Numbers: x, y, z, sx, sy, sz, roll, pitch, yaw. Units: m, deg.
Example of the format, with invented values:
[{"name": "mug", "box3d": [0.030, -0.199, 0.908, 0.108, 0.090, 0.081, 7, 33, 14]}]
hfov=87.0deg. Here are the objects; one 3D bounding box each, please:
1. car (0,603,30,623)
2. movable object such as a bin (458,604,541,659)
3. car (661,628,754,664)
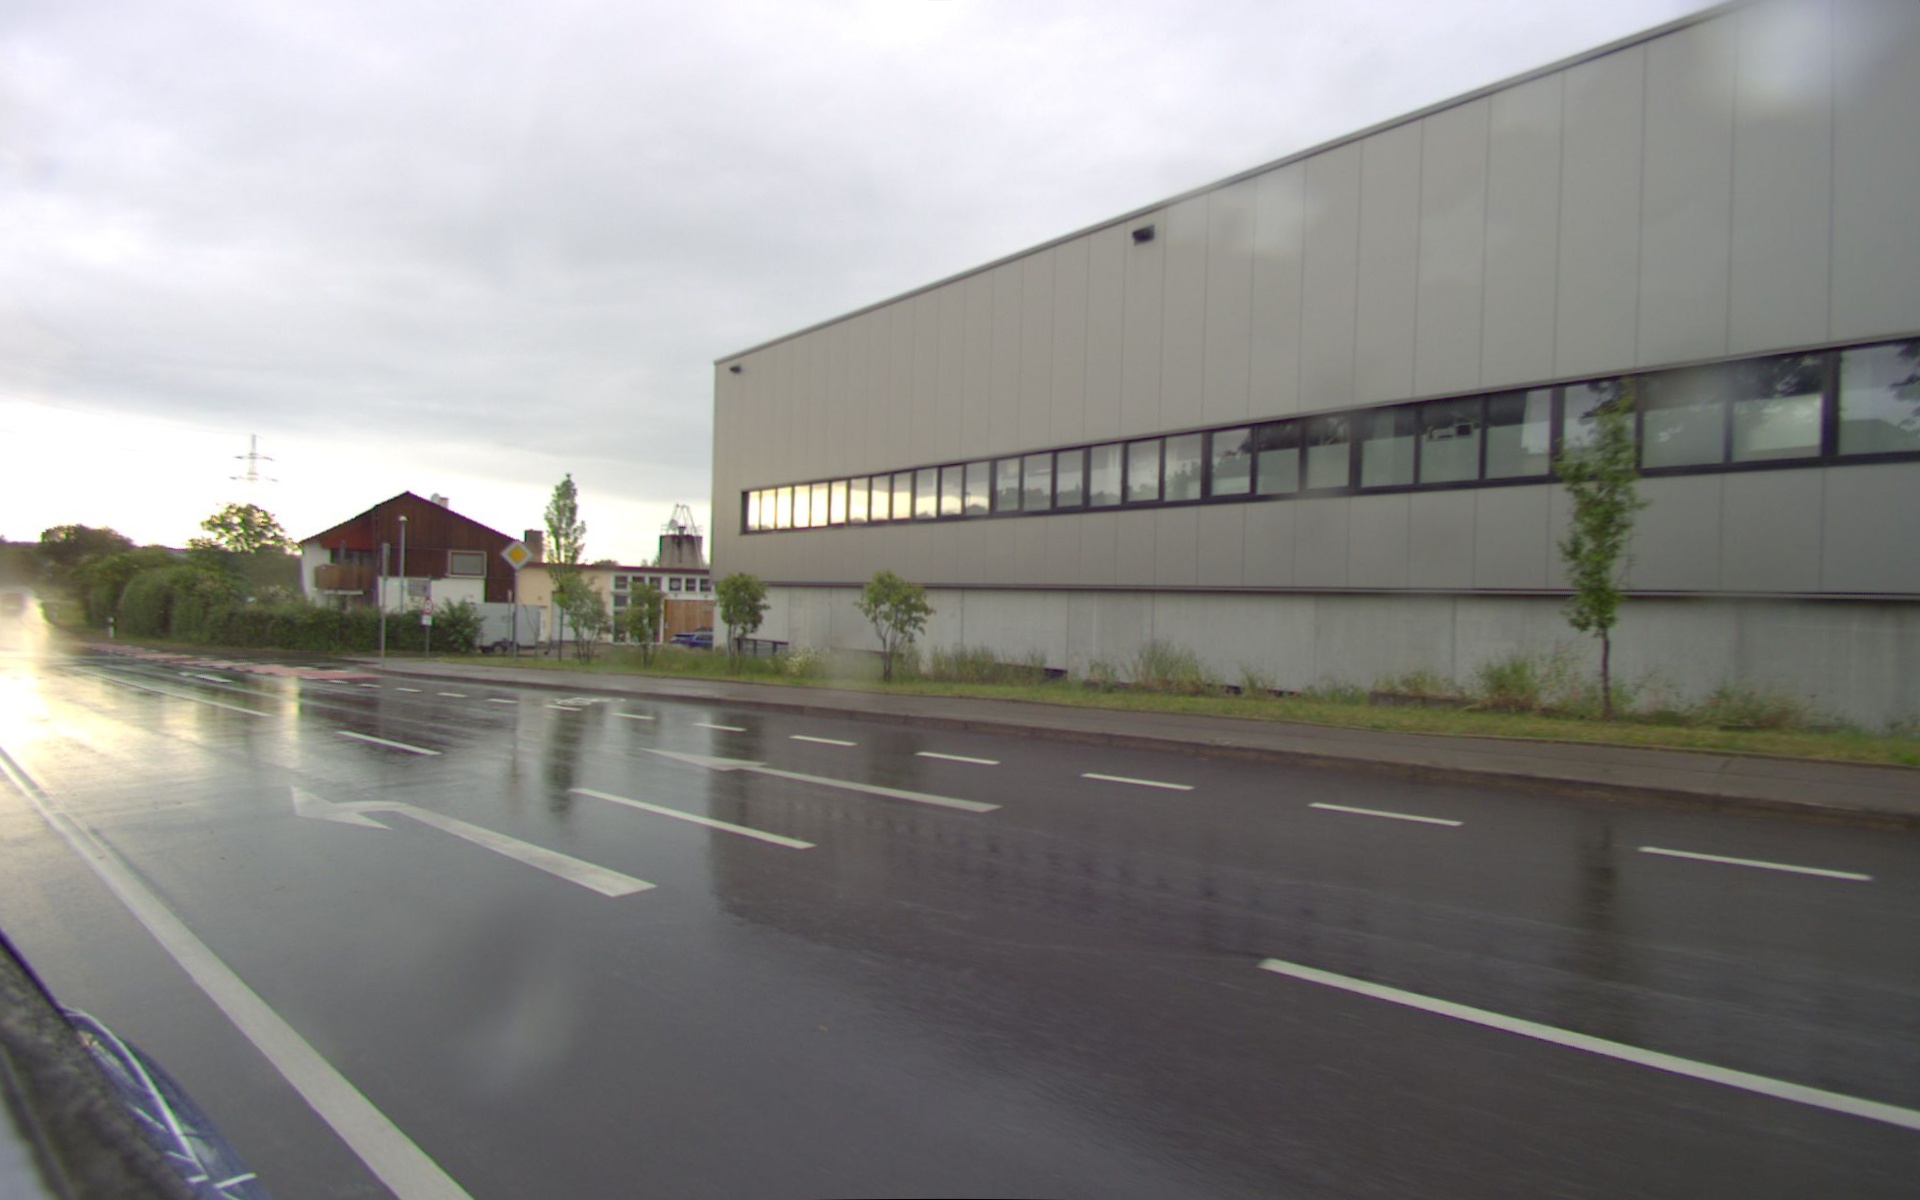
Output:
[{"name": "car", "box3d": [-96.680, 1.251, 102.906, 6.876, 1.829, 2.329, 1, -3, 42]}, {"name": "movable object such as a bin", "box3d": [-23.048, 1.607, 50.693, 3.288, 2.576, 1.741, 5, -4, -41]}, {"name": "car", "box3d": [-12.389, 2.287, 49.917, 1.949, 1.622, 4.403, 1, -4, 28]}]
